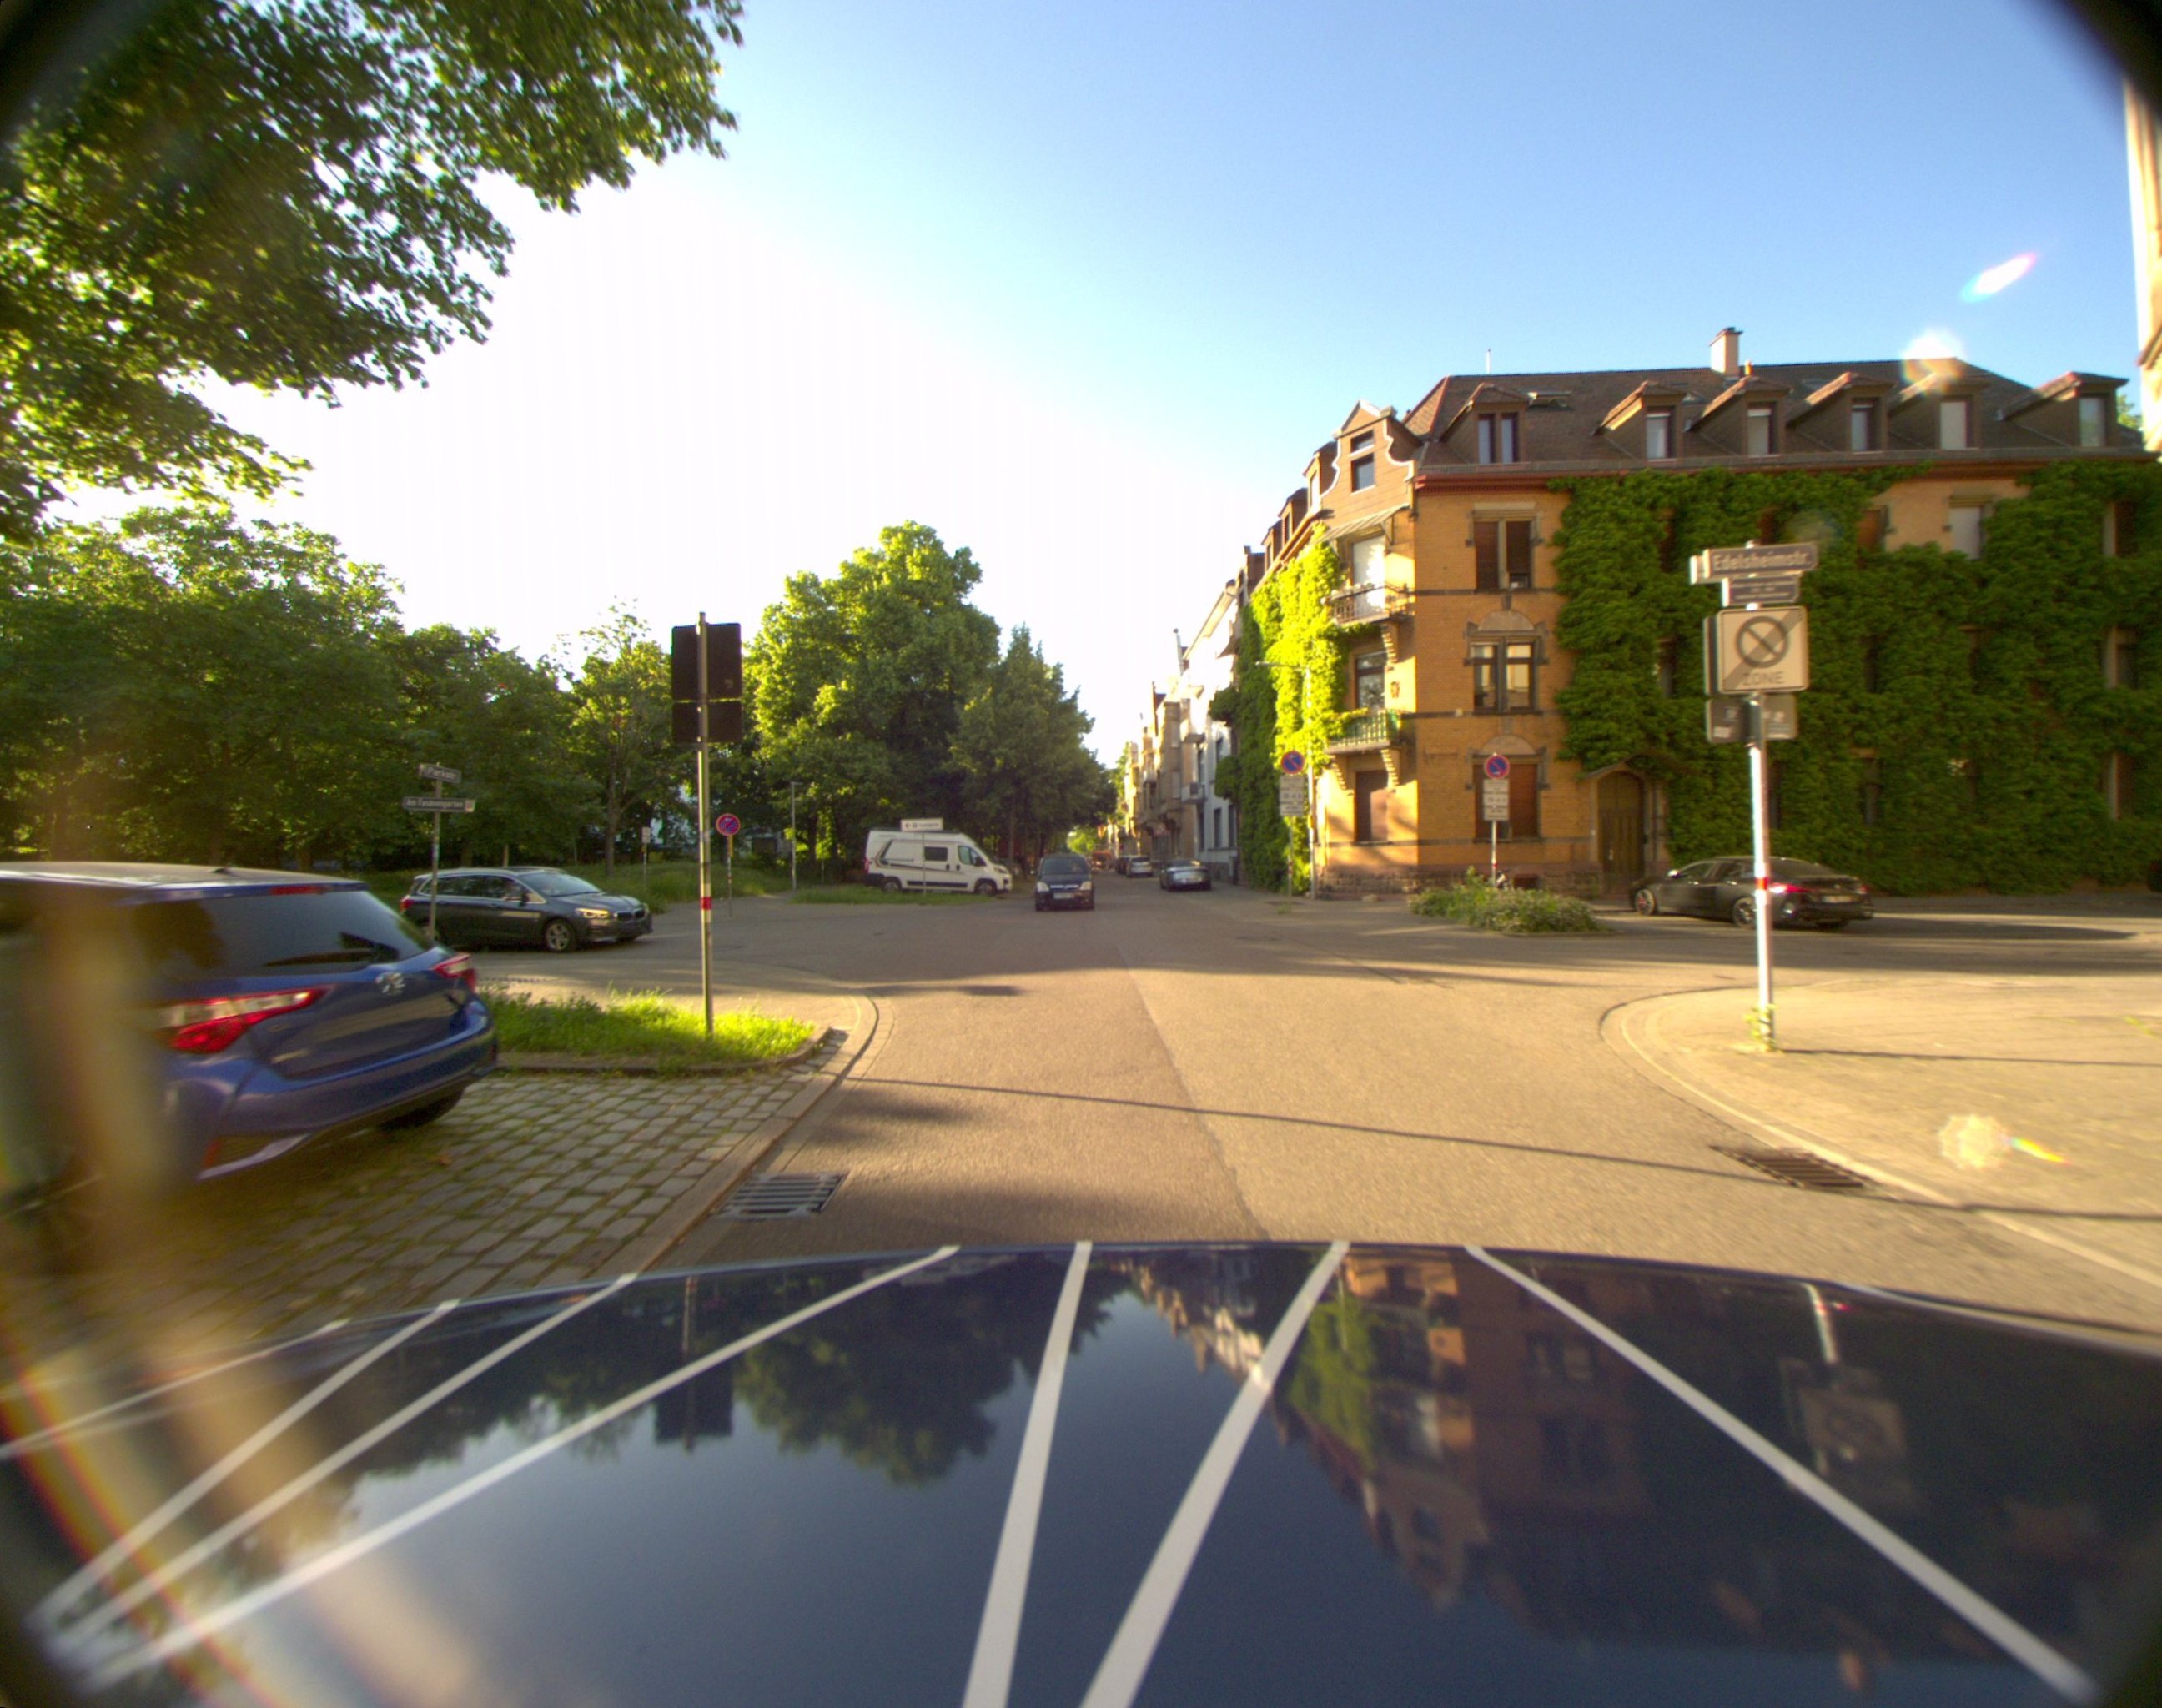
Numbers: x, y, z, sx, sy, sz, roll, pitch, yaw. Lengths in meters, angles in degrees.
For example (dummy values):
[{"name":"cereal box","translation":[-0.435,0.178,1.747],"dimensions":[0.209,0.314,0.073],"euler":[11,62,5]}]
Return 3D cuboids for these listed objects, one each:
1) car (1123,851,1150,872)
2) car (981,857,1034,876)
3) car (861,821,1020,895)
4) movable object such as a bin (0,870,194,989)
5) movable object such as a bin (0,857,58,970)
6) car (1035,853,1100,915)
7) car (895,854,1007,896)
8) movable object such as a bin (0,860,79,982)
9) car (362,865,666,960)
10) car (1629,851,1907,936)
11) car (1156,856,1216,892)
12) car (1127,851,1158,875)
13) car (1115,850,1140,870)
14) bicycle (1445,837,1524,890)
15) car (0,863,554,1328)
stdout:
[{"name":"car","translation":[4.605,0.581,64.019],"dimensions":[1.998,1.616,4.143],"euler":[-1,1,1]},{"name":"car","translation":[-5.602,0.941,58.108],"dimensions":[3.879,1.249,1.785],"euler":[-1,2,-2]},{"name":"car","translation":[-5.228,0.125,28.988],"dimensions":[5.628,2.599,2.238],"euler":[-1,2,-2]},{"name":"movable object such as a bin","translation":[-15.495,1.114,11.758],"dimensions":[1.638,1.648,1.592],"euler":[-1,2,7]},{"name":"movable object such as a bin","translation":[-18.483,1.007,12.203],"dimensions":[1.392,1.843,1.927],"euler":[-1,2,7]},{"name":"car","translation":[-0.412,0.794,22.061],"dimensions":[1.649,1.581,4.019],"euler":[-3,0,-2]},{"name":"car","translation":[-5.340,0.831,31.694],"dimensions":[4.297,1.566,1.978],"euler":[-1,2,-2]},{"name":"movable object such as a bin","translation":[-17.050,1.035,11.818],"dimensions":[1.384,1.817,1.151],"euler":[-1,2,7]},{"name":"car","translation":[-10.896,1.092,14.804],"dimensions":[4.613,1.613,1.891],"euler":[-1,2,5]},{"name":"car","translation":[14.068,0.716,15.985],"dimensions":[1.998,1.427,4.256],"euler":[-1,1,0]},{"name":"car","translation":[4.604,0.832,34.050],"dimensions":[1.882,1.396,4.925],"euler":[-3,0,-1]},{"name":"car","translation":[4.429,0.627,55.475],"dimensions":[1.867,1.538,3.791],"euler":[-1,1,-1]},{"name":"car","translation":[4.229,0.539,69.500],"dimensions":[1.998,1.616,4.143],"euler":[-1,1,1]},{"name":"bicycle","translation":[9.965,0.230,18.810],"dimensions":[1.600,1.261,0.565],"euler":[-1,0,9]},{"name":"car","translation":[-5.197,0.854,3.564],"dimensions":[3.998,1.547,1.999],"euler":[0,1,-3]}]
